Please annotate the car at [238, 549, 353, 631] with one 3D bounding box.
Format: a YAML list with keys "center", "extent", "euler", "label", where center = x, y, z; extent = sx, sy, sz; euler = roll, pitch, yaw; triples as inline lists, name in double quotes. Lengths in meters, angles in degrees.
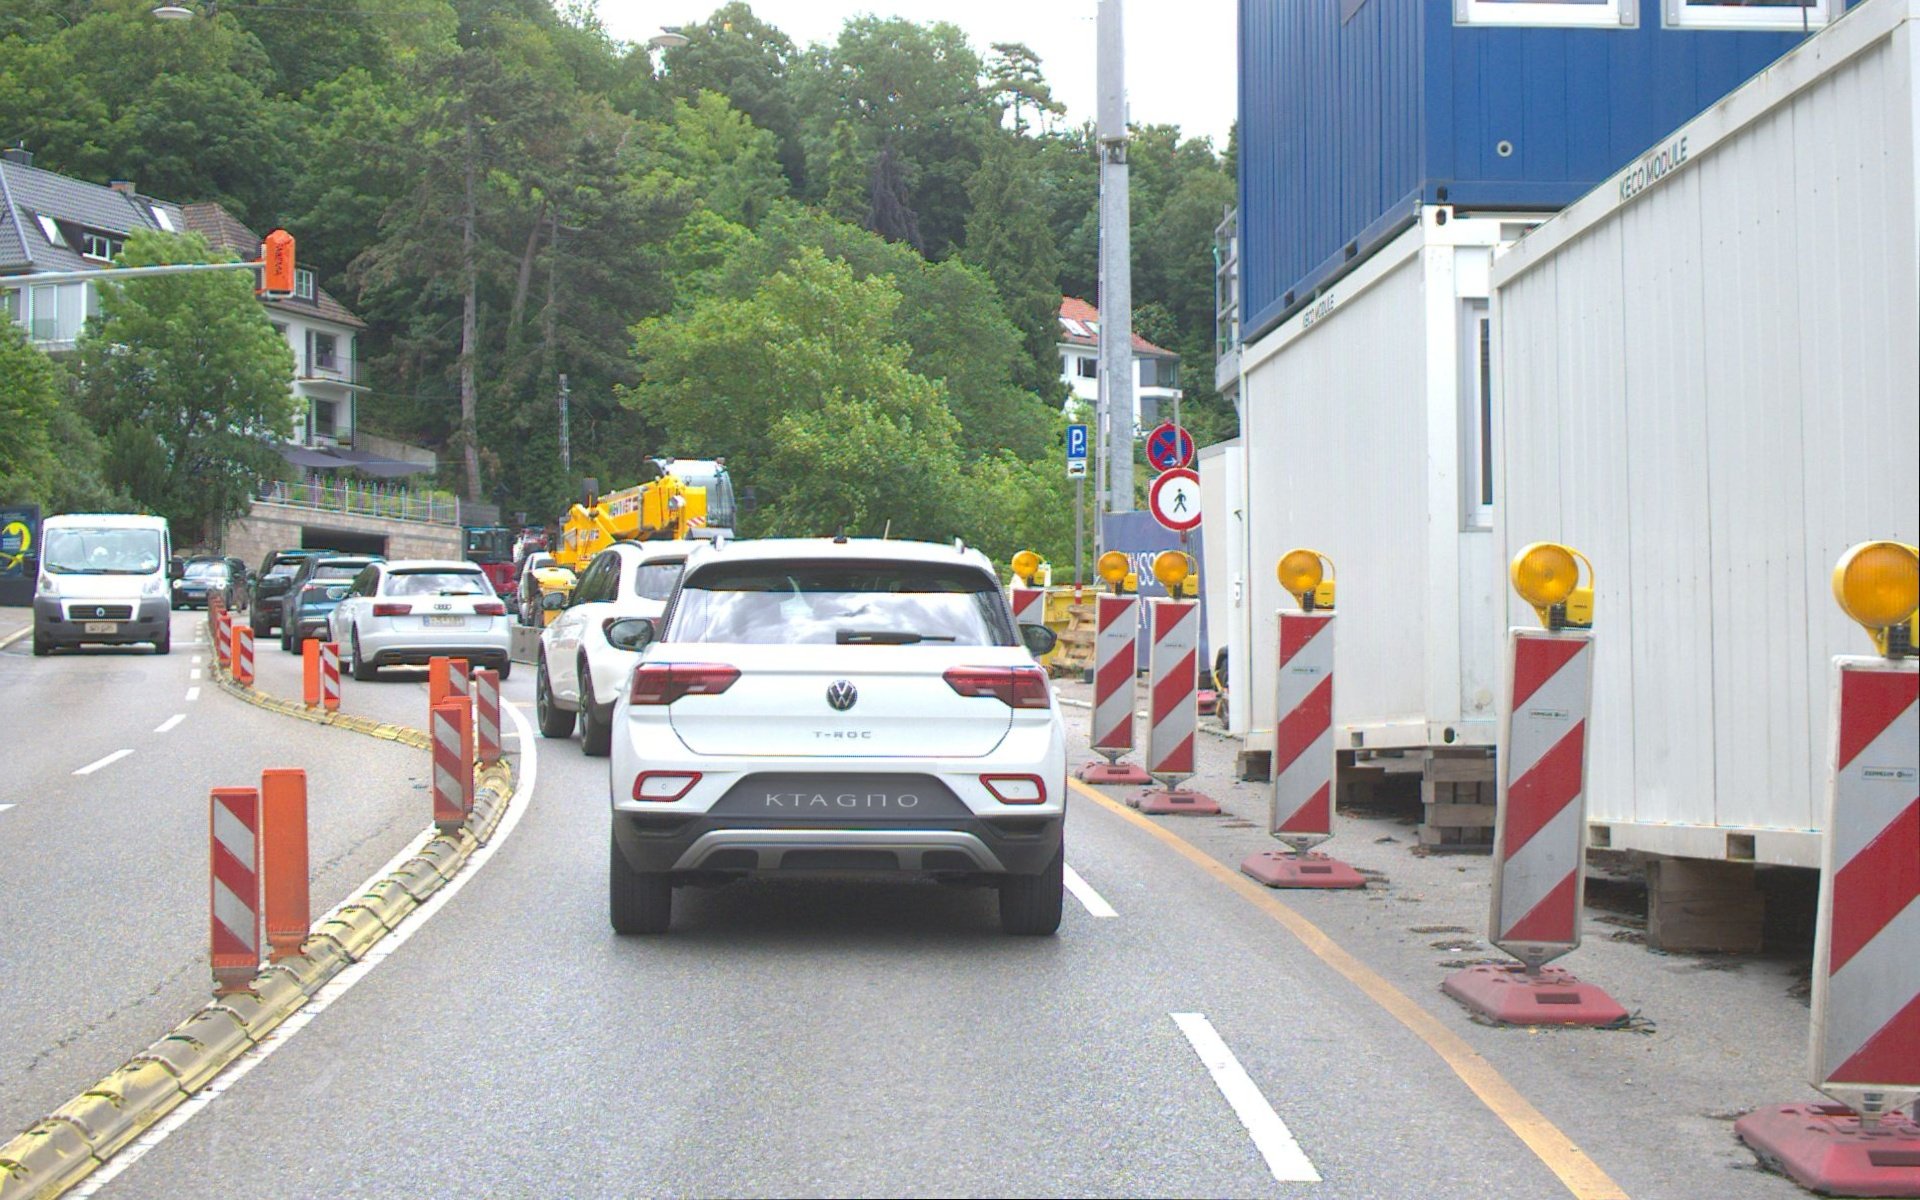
- center: [-12.793, -0.212, 66.016]
  extent: [1.794, 1.505, 4.001]
  euler: [-1, 1, -16]
  label: "car"

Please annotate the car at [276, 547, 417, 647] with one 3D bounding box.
- center: [-9.684, -0.071, 54.080]
  extent: [1.794, 1.505, 4.001]
  euler: [-1, 1, -16]
  label: "car"

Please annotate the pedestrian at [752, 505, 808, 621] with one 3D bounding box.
- center: [-2.802, -0.578, 53.498]
  extent: [0.689, 1.789, 0.540]
  euler: [0, 1, -26]
  label: "pedestrian"

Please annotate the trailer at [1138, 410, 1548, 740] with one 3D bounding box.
- center: [3.160, -0.237, 29.612]
  extent: [2.106, 2.541, 5.120]
  euler: [-2, 1, -10]
  label: "trailer"

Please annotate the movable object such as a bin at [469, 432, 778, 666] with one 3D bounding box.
- center: [-5.000, -0.729, 49.514]
  extent: [2.810, 3.060, 7.825]
  euler: [1, 1, -17]
  label: "movable object such as a bin"

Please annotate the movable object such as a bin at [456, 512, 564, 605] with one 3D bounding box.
- center: [-13.357, -1.238, 102.328]
  extent: [2.212, 2.654, 4.944]
  euler: [1, 1, 4]
  label: "movable object such as a bin"

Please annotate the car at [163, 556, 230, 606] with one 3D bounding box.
- center: [-22.274, -0.559, 100.400]
  extent: [1.671, 1.425, 3.588]
  euler: [0, 1, -9]
  label: "car"

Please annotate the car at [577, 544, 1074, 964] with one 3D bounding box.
- center: [-0.486, 0.537, 14.616]
  extent: [1.810, 1.526, 4.000]
  euler: [-1, 1, 0]
  label: "car"

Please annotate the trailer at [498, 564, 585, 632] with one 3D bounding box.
- center: [-9.462, -0.064, 77.604]
  extent: [1.288, 1.470, 3.635]
  euler: [1, 1, -17]
  label: "trailer"

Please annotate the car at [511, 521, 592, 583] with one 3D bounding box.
- center: [-10.157, -1.166, 85.290]
  extent: [1.794, 1.505, 4.001]
  euler: [0, 0, -10]
  label: "car"

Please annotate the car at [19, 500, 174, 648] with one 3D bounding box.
- center: [-13.609, -0.440, 54.434]
  extent: [2.066, 2.180, 4.964]
  euler: [-2, 1, -11]
  label: "car"

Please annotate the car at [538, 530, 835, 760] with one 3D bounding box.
- center: [-2.242, 0.300, 27.189]
  extent: [1.809, 1.657, 4.001]
  euler: [-1, 1, -12]
  label: "car"

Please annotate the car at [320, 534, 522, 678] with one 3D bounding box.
- center: [-6.674, 0.042, 42.284]
  extent: [1.809, 1.657, 4.001]
  euler: [-1, 1, -18]
  label: "car"

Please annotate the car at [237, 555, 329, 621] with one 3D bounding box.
- center: [-16.083, -0.311, 81.555]
  extent: [1.794, 1.505, 4.001]
  euler: [-1, 1, -16]
  label: "car"
